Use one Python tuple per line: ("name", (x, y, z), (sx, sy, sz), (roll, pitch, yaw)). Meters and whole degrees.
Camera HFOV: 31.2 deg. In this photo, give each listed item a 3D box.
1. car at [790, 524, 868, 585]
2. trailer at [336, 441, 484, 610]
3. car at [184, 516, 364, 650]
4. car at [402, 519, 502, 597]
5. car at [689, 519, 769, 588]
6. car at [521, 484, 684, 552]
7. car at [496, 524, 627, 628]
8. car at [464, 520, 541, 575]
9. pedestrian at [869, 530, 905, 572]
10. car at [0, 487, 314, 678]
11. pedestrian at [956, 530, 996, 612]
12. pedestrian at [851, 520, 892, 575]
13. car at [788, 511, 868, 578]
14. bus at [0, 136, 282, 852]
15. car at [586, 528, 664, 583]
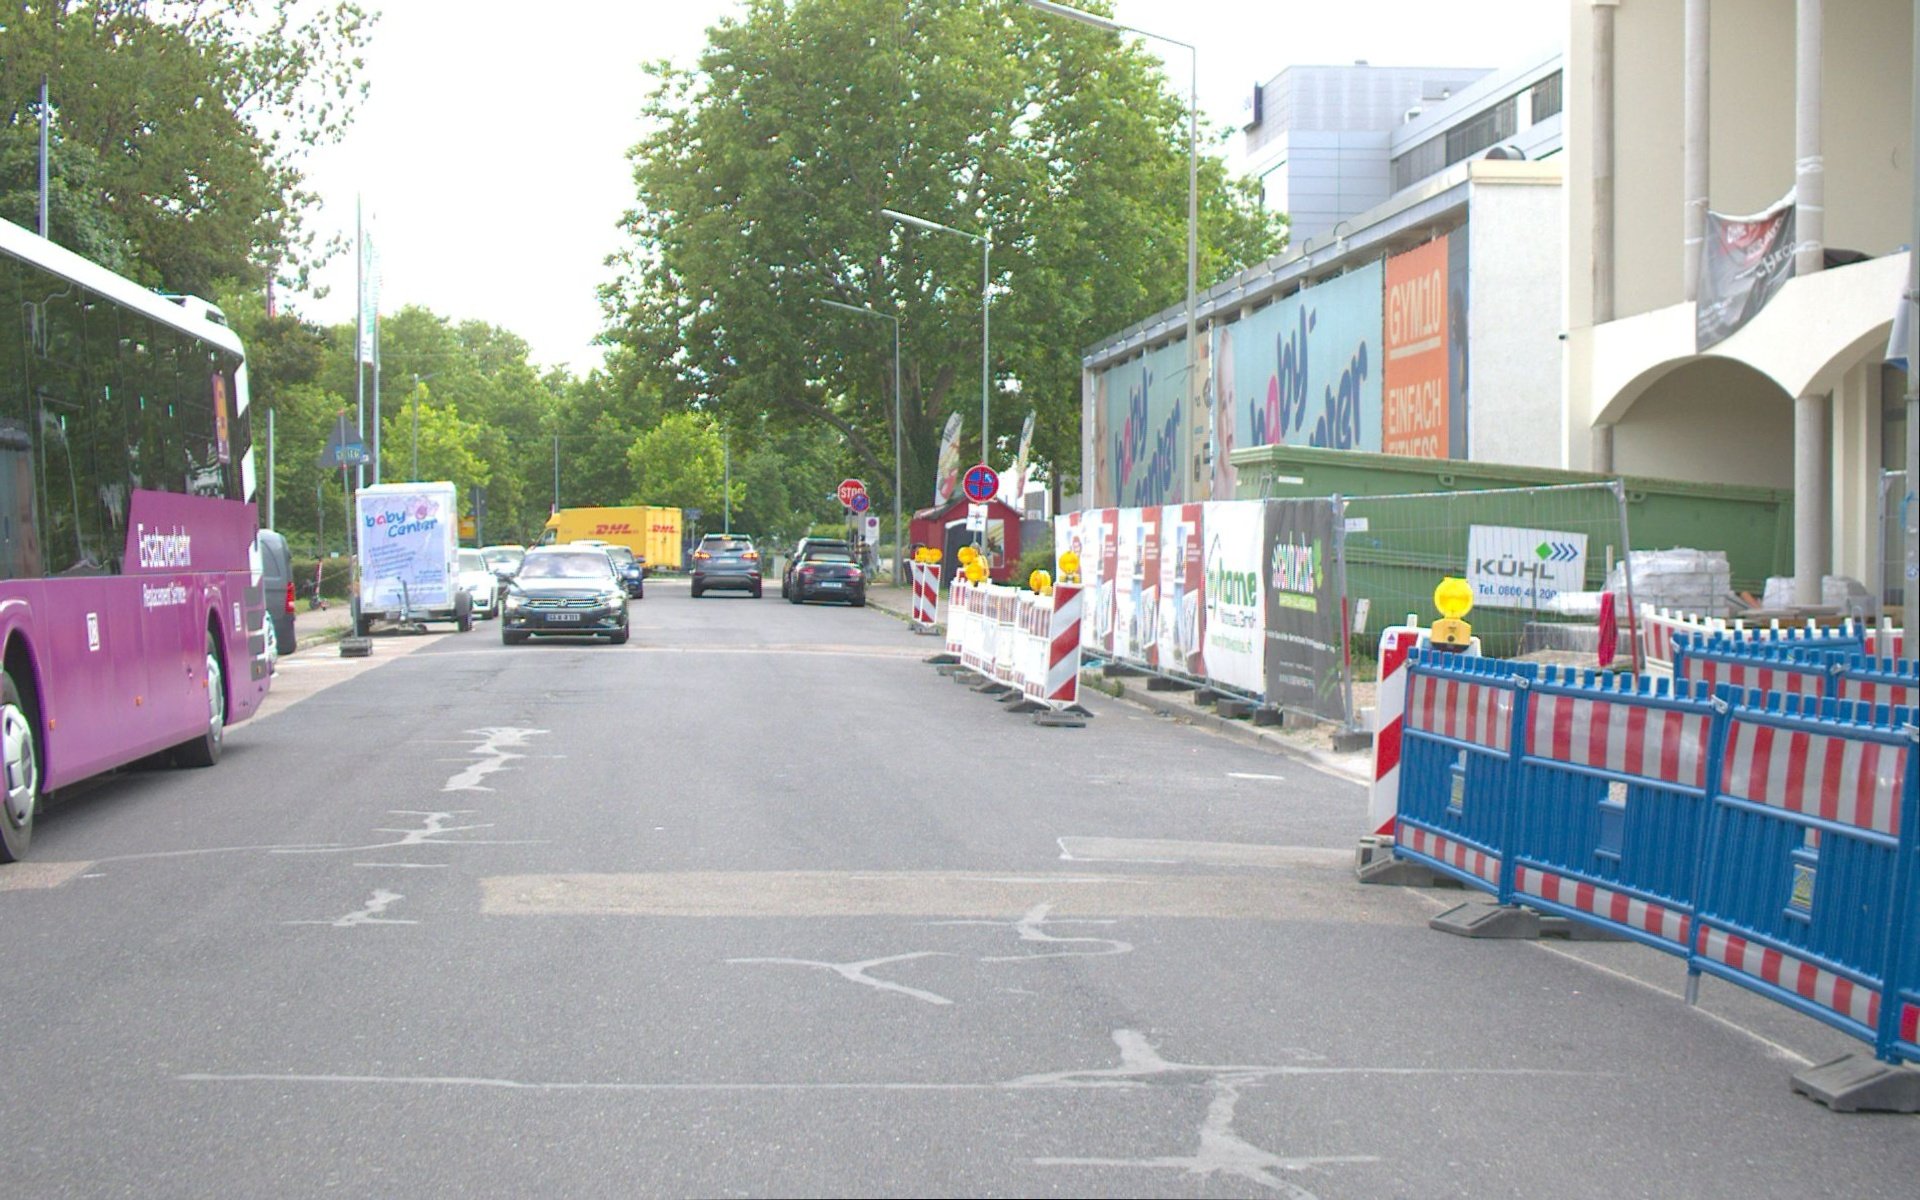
("car", (-3.300, -1.159, 86.213), (1.808, 1.386, 4.589), (3, 1, -3))
("trailer", (-9.543, -1.319, 59.987), (2.139, 2.773, 4.704), (-2, 2, -5))
("car", (-8.786, -0.261, 44.316), (1.868, 1.624, 4.128), (0, 2, -5))
("car", (-10.379, -0.884, 70.491), (1.765, 1.474, 4.236), (-2, 2, -6))
("car", (-6.253, -1.278, 92.737), (1.961, 1.809, 4.276), (0, 1, -6))
("car", (-13.819, -3.176, 132.558), (6.396, 2.569, 2.201), (1, 2, 35))
("car", (-6.023, -0.399, 52.303), (1.796, 1.454, 4.386), (-1, 2, -5))
("car", (-12.614, -1.471, 94.982), (1.709, 1.415, 4.332), (-2, 2, -3))
("pedestrian", (-2.262, -1.523, 107.023), (1.014, 1.309, 0.964), (1, 1, 4))
("car", (-9.555, -0.216, 36.468), (5.000, 1.942, 1.992), (1, 1, 1))
("pedestrian", (0.301, -0.554, 64.921), (0.681, 1.528, 1.130), (1, 1, -2))
("pedestrian", (-3.037, -1.803, 117.725), (1.000, 1.843, 1.230), (0, 1, -22))
("car", (-3.579, -1.519, 92.542), (1.808, 1.659, 4.641), (3, 1, -6))
("bus", (-6.204, -0.577, 20.220), (2.662, 3.411, 13.221), (-3, 2, -5))
("car", (-8.793, -1.181, 90.420), (1.923, 1.372, 4.380), (0, 2, -4))
